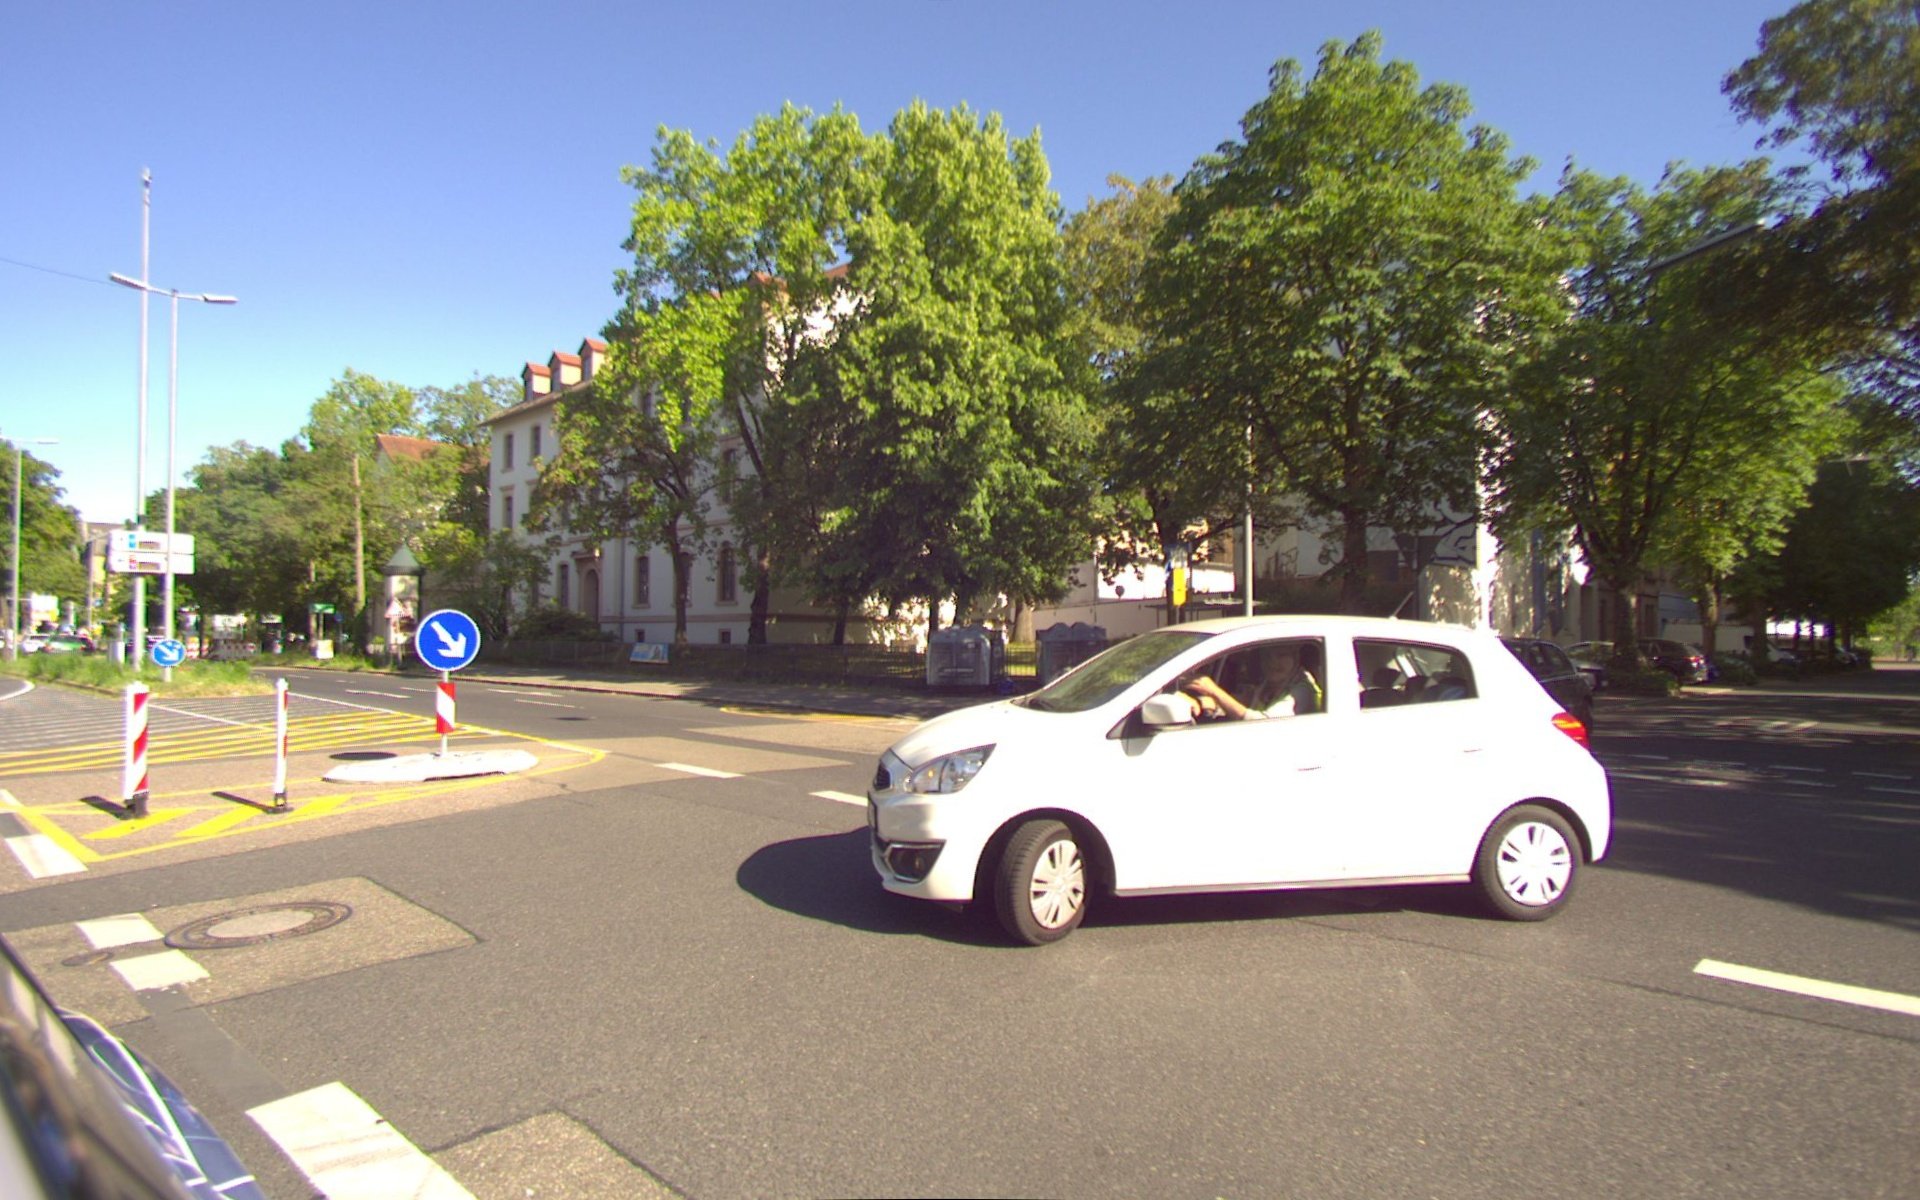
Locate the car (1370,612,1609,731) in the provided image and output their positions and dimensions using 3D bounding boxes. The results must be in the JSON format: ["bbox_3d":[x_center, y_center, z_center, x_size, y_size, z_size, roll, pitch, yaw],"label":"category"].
[{"bbox_3d":[7.787,0.993,14.765,3.722,1.502,1.847,3,-3,-41],"label":"car"}]

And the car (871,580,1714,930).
[{"bbox_3d":[1.510,0.718,5.336,3.835,1.469,1.657,1,-3,-7],"label":"car"}]

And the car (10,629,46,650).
[{"bbox_3d":[-69.406,2.954,75.385,3.716,1.439,1.573,-1,-3,42],"label":"car"}]

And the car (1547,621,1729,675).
[{"bbox_3d":[22.627,1.594,33.951,1.864,1.701,4.709,2,-3,-38],"label":"car"}]

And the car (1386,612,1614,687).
[{"bbox_3d":[13.467,1.233,25.487,1.865,1.701,4.706,3,-3,-41],"label":"car"}]

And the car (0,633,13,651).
[{"bbox_3d":[-82.898,3.615,87.208,3.716,1.439,1.573,-1,-3,42],"label":"car"}]

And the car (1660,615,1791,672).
[{"bbox_3d":[37.737,2.145,49.990,1.867,2.643,4.920,3,-4,-45],"label":"car"}]

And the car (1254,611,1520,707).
[{"bbox_3d":[8.493,1.157,20.579,1.863,1.701,4.711,2,-3,-34],"label":"car"}]

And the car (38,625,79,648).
[{"bbox_3d":[-58.843,2.360,66.024,3.716,1.439,1.573,-1,-3,42],"label":"car"}]

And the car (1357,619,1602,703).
[{"bbox_3d":[11.927,1.338,23.471,1.866,1.701,4.704,3,-2,-43],"label":"car"}]
